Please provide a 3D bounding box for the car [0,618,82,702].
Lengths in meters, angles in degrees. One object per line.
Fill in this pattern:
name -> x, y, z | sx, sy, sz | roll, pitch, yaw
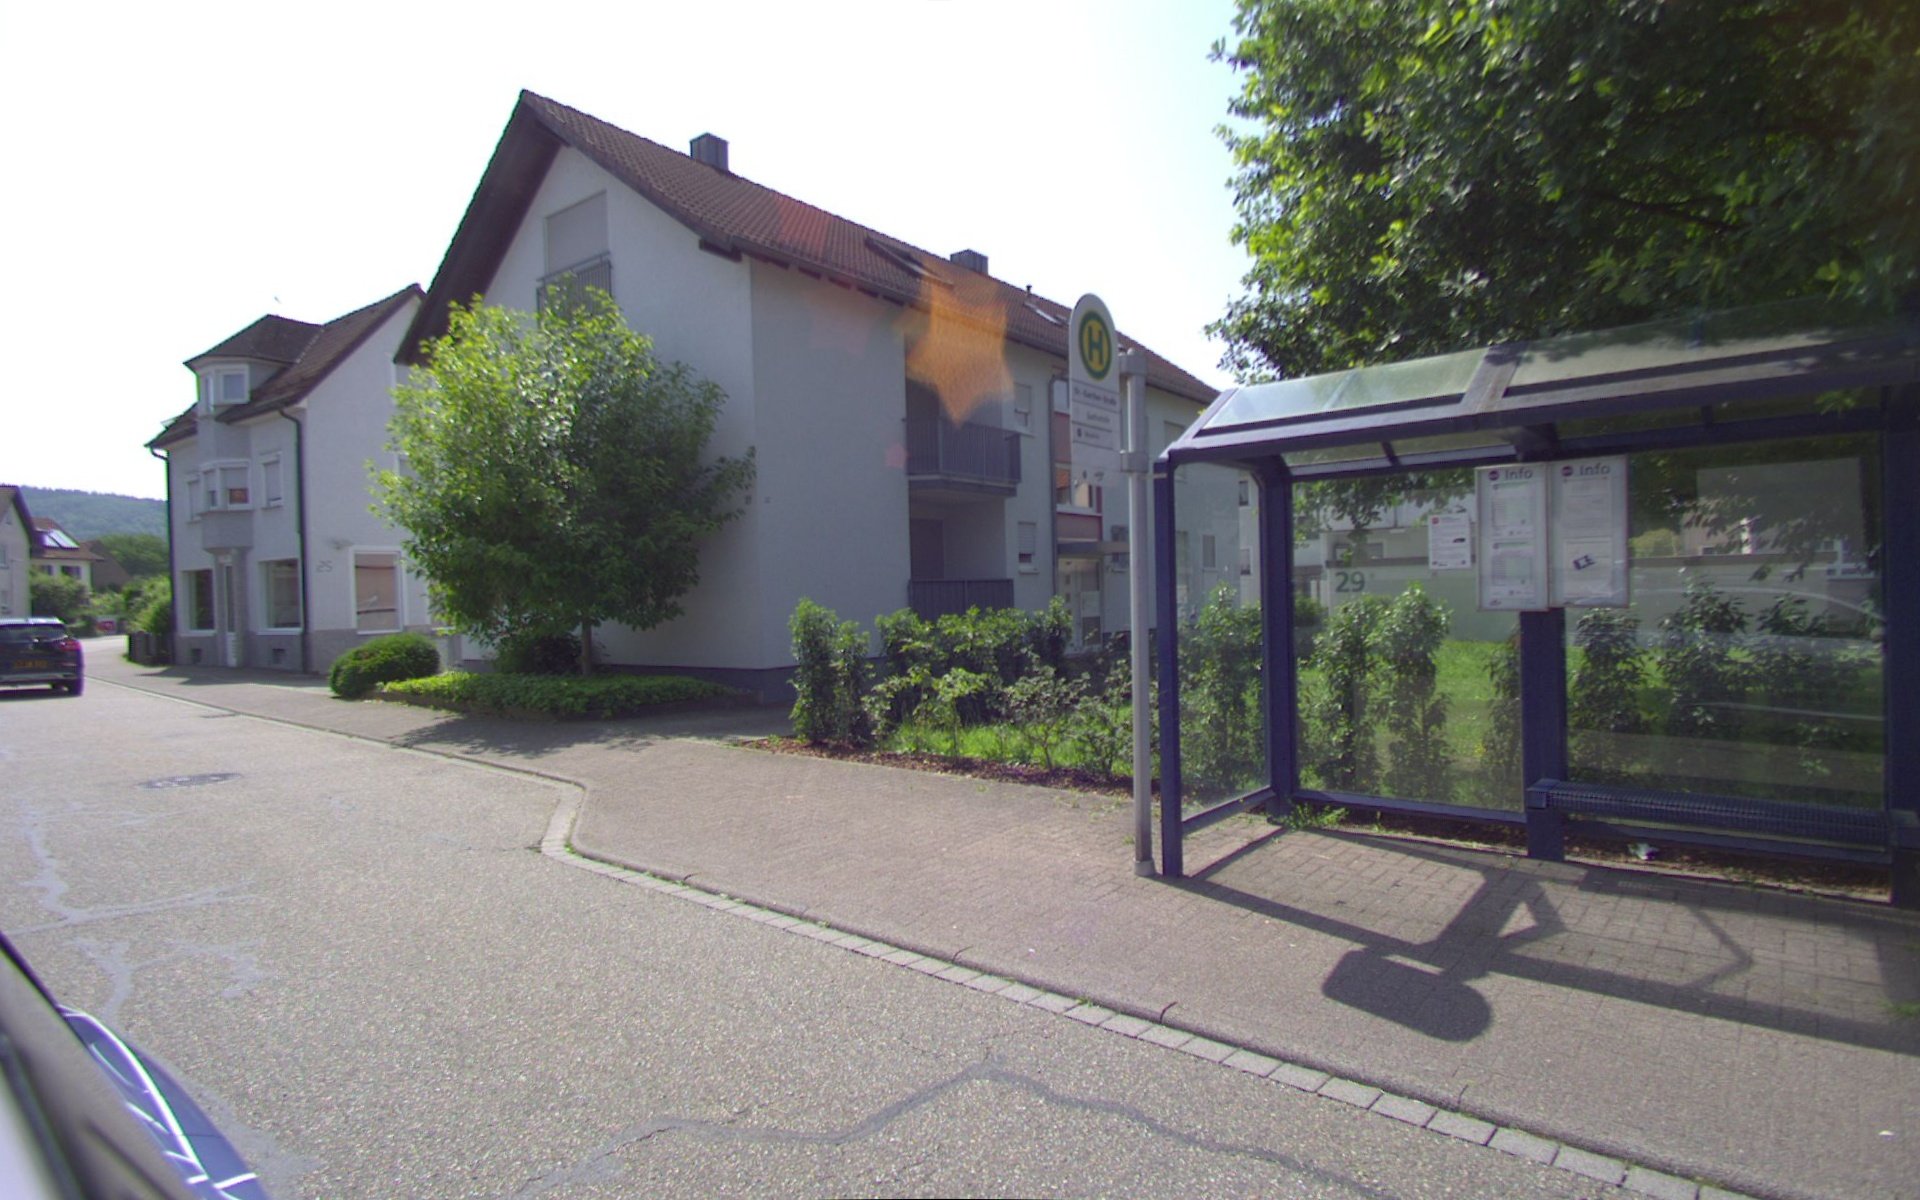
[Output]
car -> -19.956, 1.233, 21.278 | 4.104, 1.636, 1.757 | -2, -2, 42
